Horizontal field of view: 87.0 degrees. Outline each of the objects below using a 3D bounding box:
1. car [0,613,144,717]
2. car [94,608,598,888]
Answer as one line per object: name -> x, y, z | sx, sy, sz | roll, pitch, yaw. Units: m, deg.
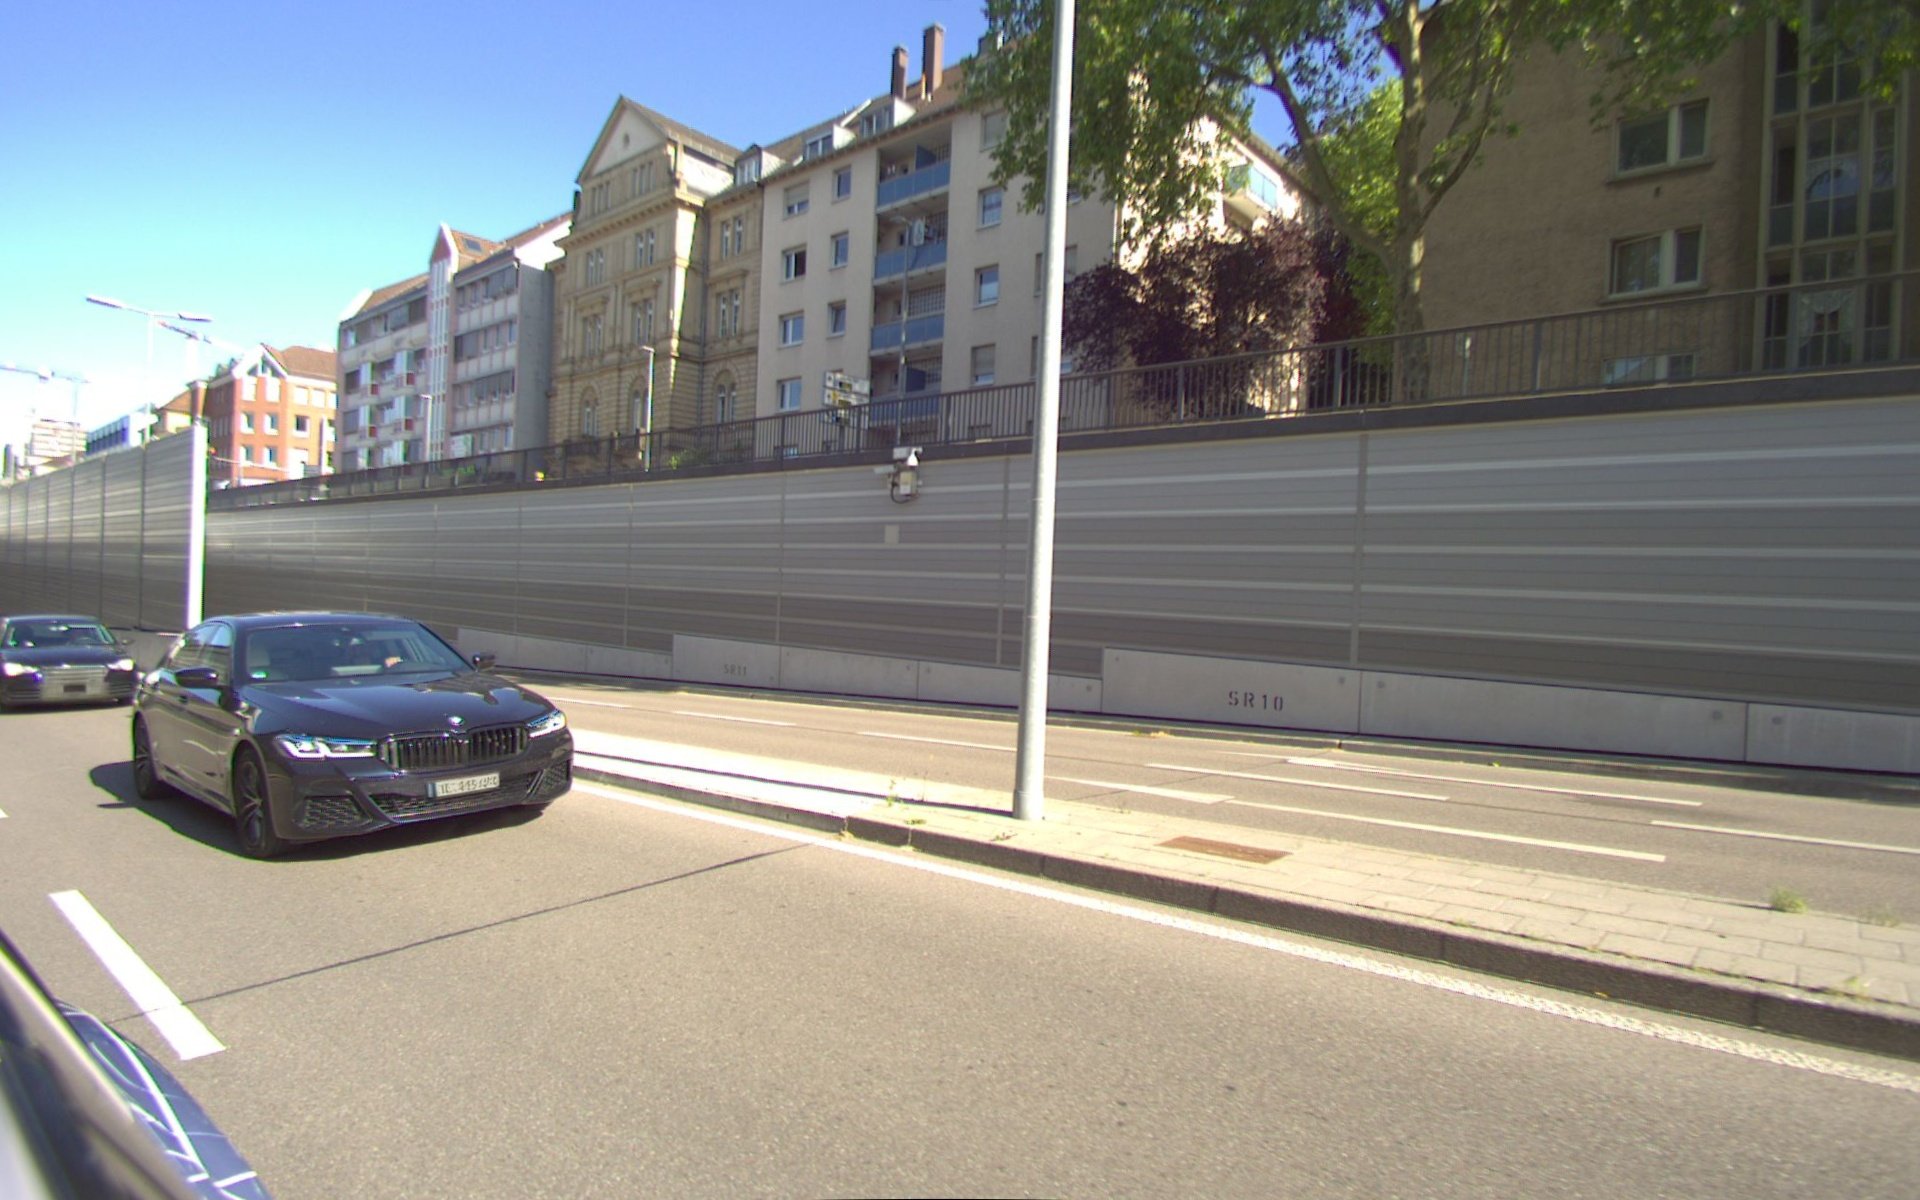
car -> -14.394, 0.941, 15.989 | 3.886, 1.429, 1.678 | -1, -1, 41
car -> -4.850, 0.808, 7.602 | 4.999, 1.450, 1.790 | -1, -1, 41
